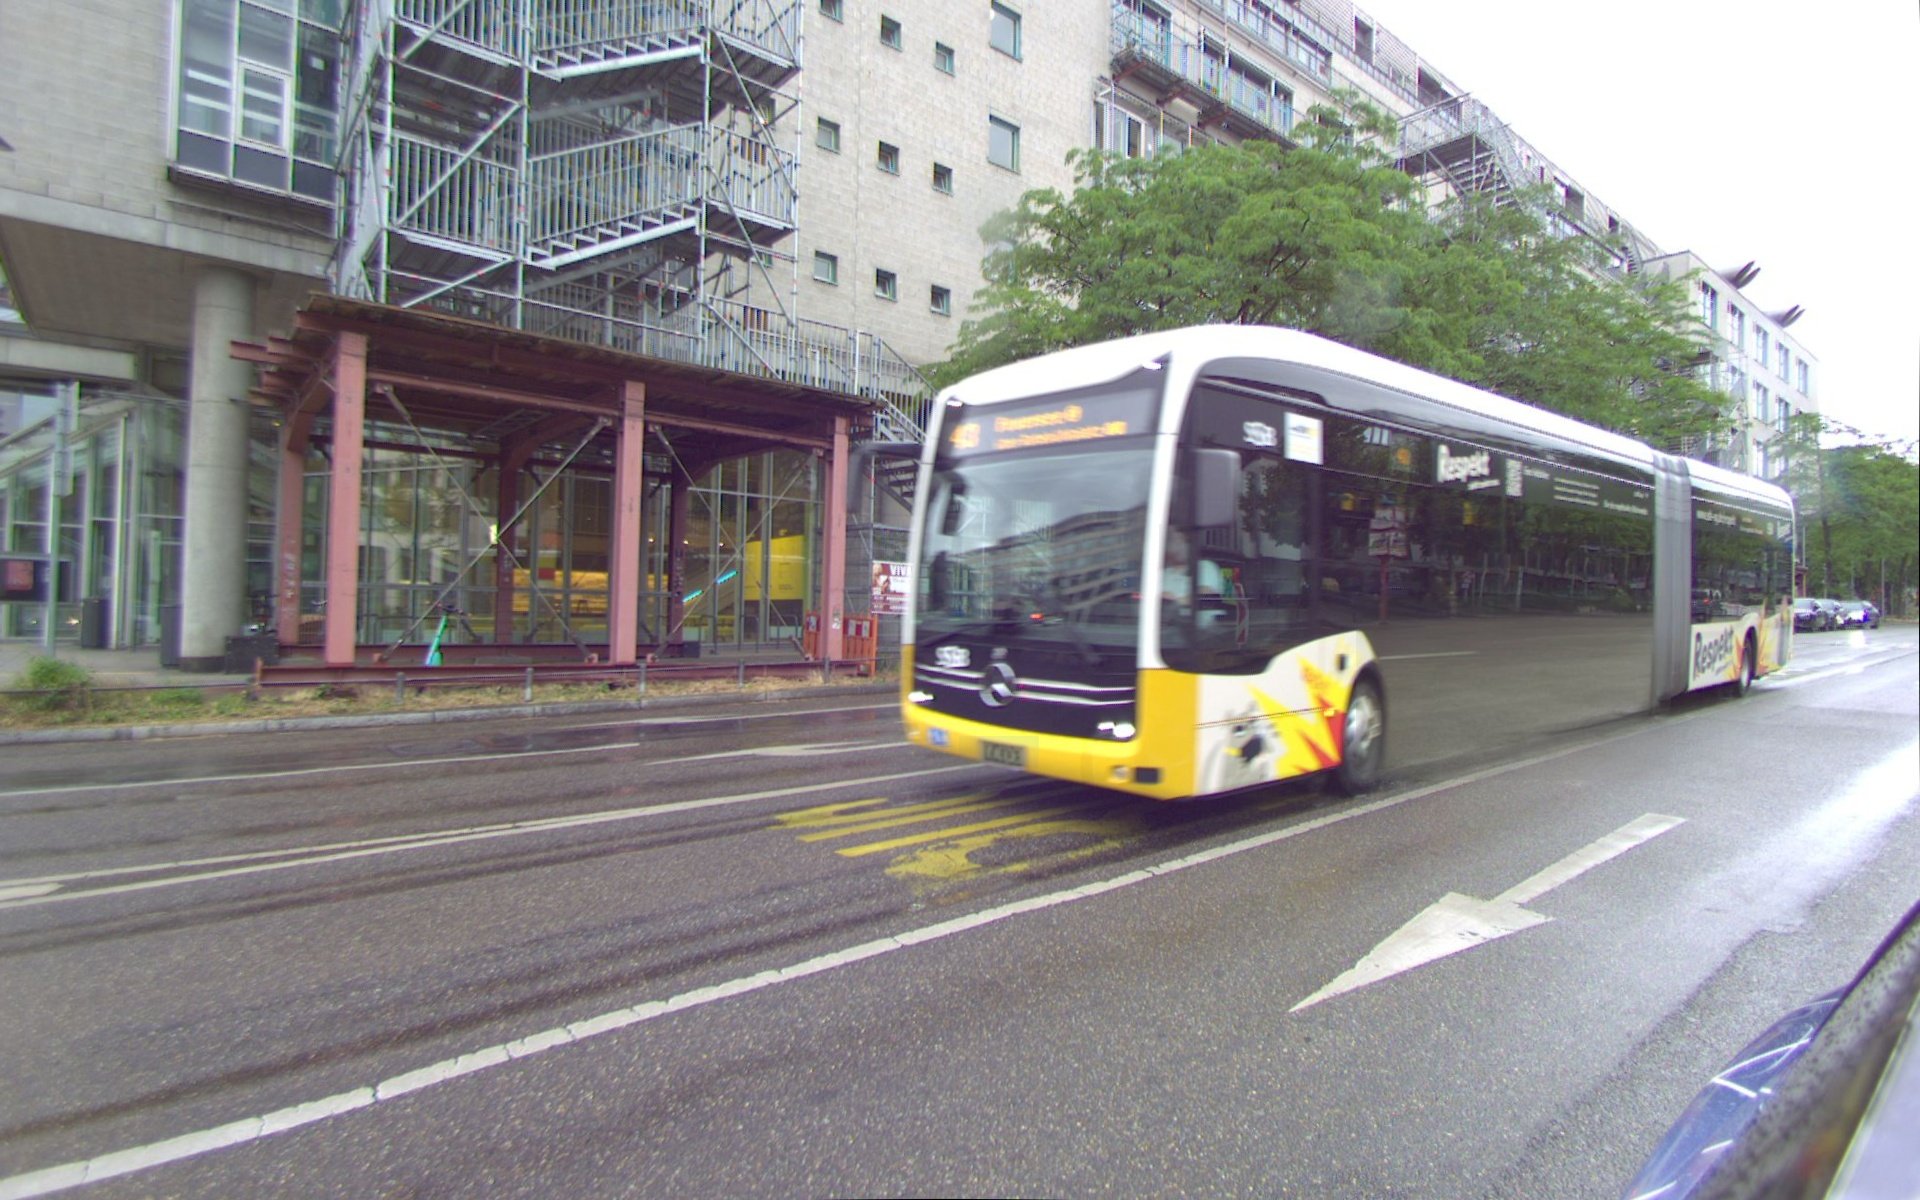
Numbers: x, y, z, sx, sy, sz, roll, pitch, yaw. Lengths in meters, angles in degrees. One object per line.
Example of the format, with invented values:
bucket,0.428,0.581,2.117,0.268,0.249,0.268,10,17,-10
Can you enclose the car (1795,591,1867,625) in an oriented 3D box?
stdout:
car,44.356,0.371,51.521,4.733,1.580,2.145,-1,1,-41

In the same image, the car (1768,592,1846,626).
car,40.245,0.399,48.060,4.733,1.513,2.145,-1,1,-41

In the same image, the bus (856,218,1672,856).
bus,3.760,-0.402,9.794,9.586,3.494,2.888,-1,0,-41

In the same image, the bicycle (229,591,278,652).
bicycle,-14.466,0.417,20.700,0.577,1.209,1.611,0,0,-44

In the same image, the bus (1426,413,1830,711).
bus,11.007,-0.497,16.062,9.541,3.483,2.888,-1,0,-41

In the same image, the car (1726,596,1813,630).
car,35.090,0.532,43.809,4.733,1.353,2.145,-1,1,-41

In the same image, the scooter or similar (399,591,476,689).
scooter or similar,-6.941,0.490,13.405,0.576,1.209,1.782,1,0,-38

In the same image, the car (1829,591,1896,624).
car,48.929,0.360,54.847,4.733,1.667,2.145,-1,0,-41

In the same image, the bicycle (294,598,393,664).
bicycle,-11.989,0.577,19.729,0.580,1.209,1.602,0,0,24
